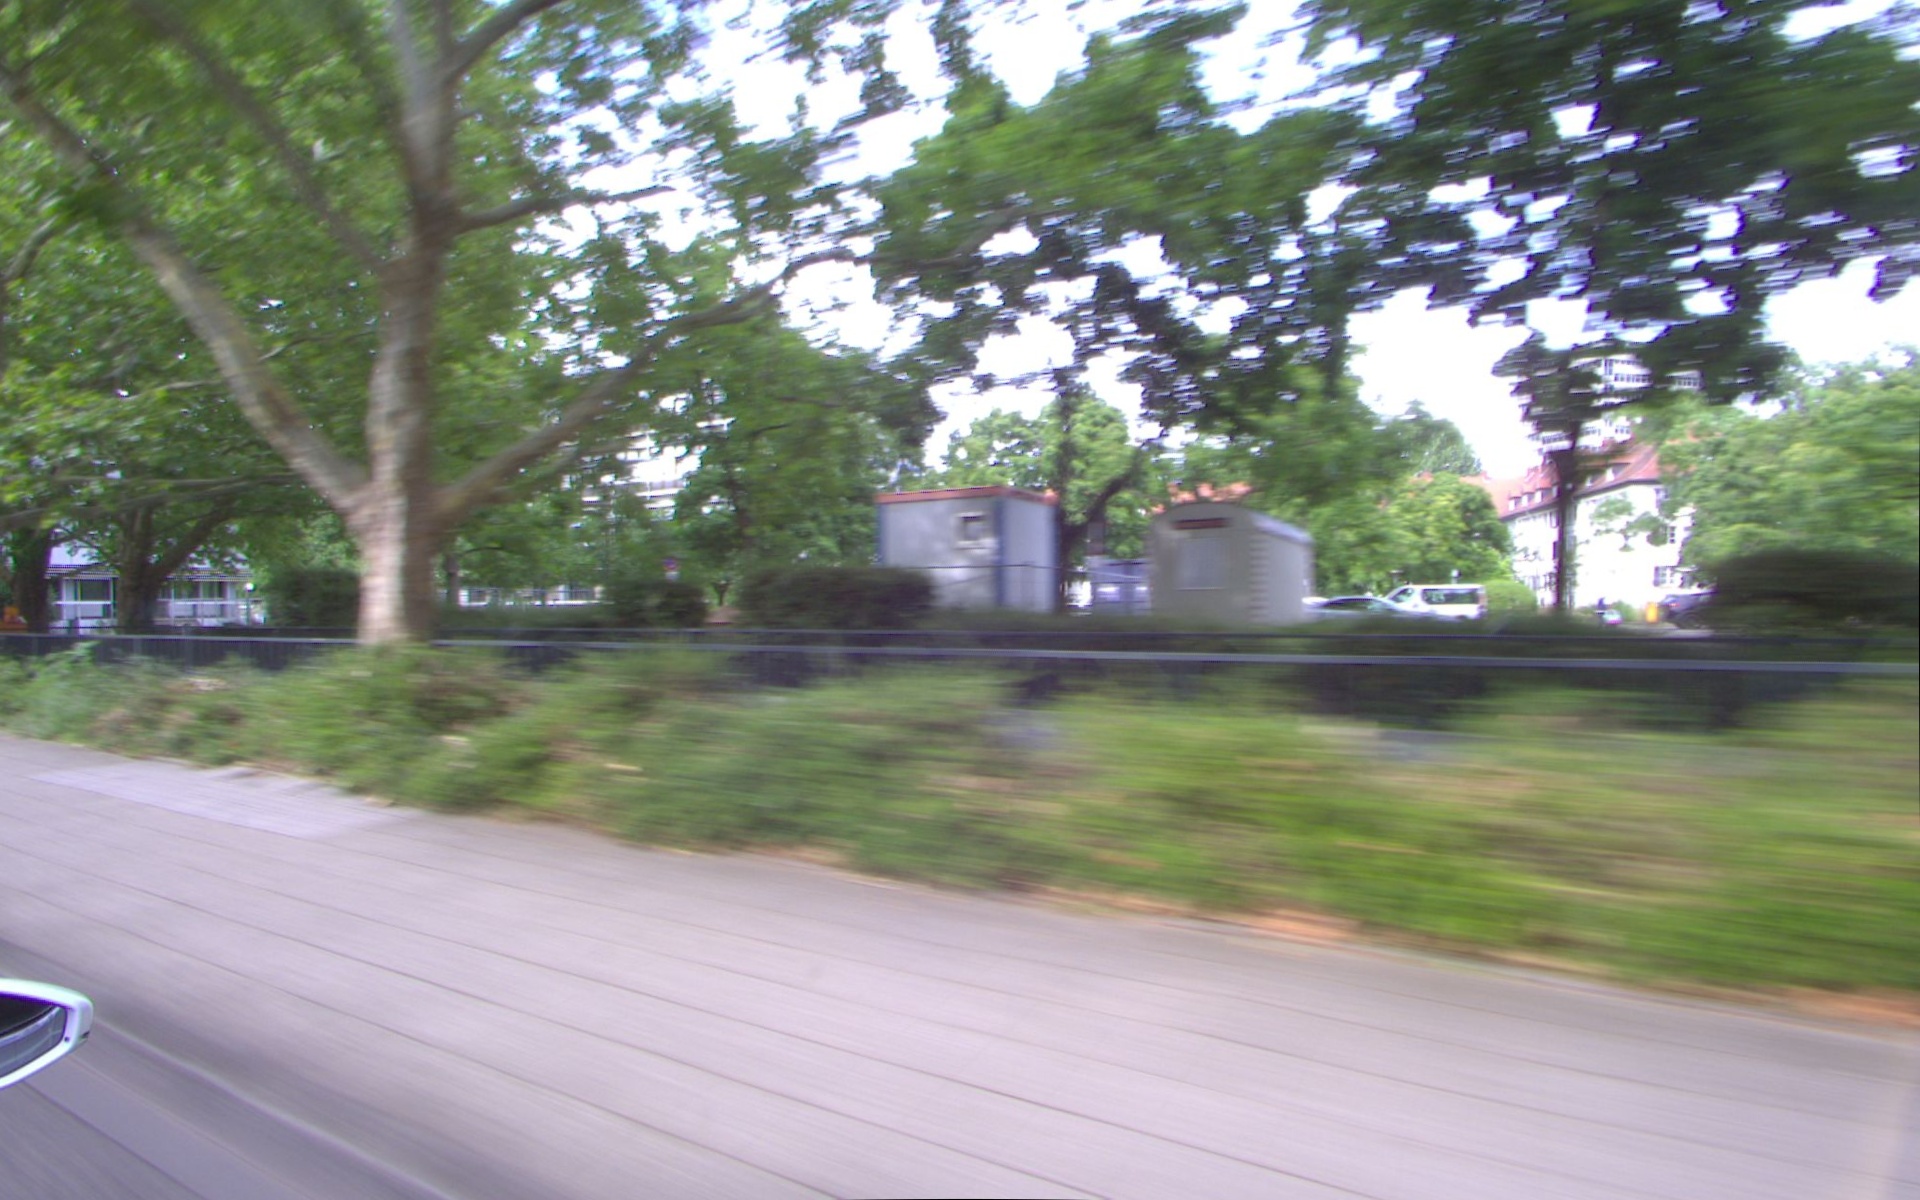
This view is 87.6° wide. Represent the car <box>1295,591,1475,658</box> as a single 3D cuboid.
[{"bbox_3d":[12.467,0.694,29.397,4.699,1.817,1.993,0,-1,28],"label":"car"}]

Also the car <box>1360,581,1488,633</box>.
[{"bbox_3d":[19.251,0.301,41.609,4.697,2.039,1.994,0,-1,27],"label":"car"}]

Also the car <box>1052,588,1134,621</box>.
[{"bbox_3d":[6.875,0.247,51.861,3.730,1.601,1.993,0,-1,28],"label":"car"}]

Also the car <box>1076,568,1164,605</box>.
[{"bbox_3d":[9.371,-0.770,58.772,4.699,2.039,1.993,0,-1,28],"label":"car"}]

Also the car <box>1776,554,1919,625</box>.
[{"bbox_3d":[35.859,-0.393,39.387,5.412,2.647,2.434,0,-1,29],"label":"car"}]
